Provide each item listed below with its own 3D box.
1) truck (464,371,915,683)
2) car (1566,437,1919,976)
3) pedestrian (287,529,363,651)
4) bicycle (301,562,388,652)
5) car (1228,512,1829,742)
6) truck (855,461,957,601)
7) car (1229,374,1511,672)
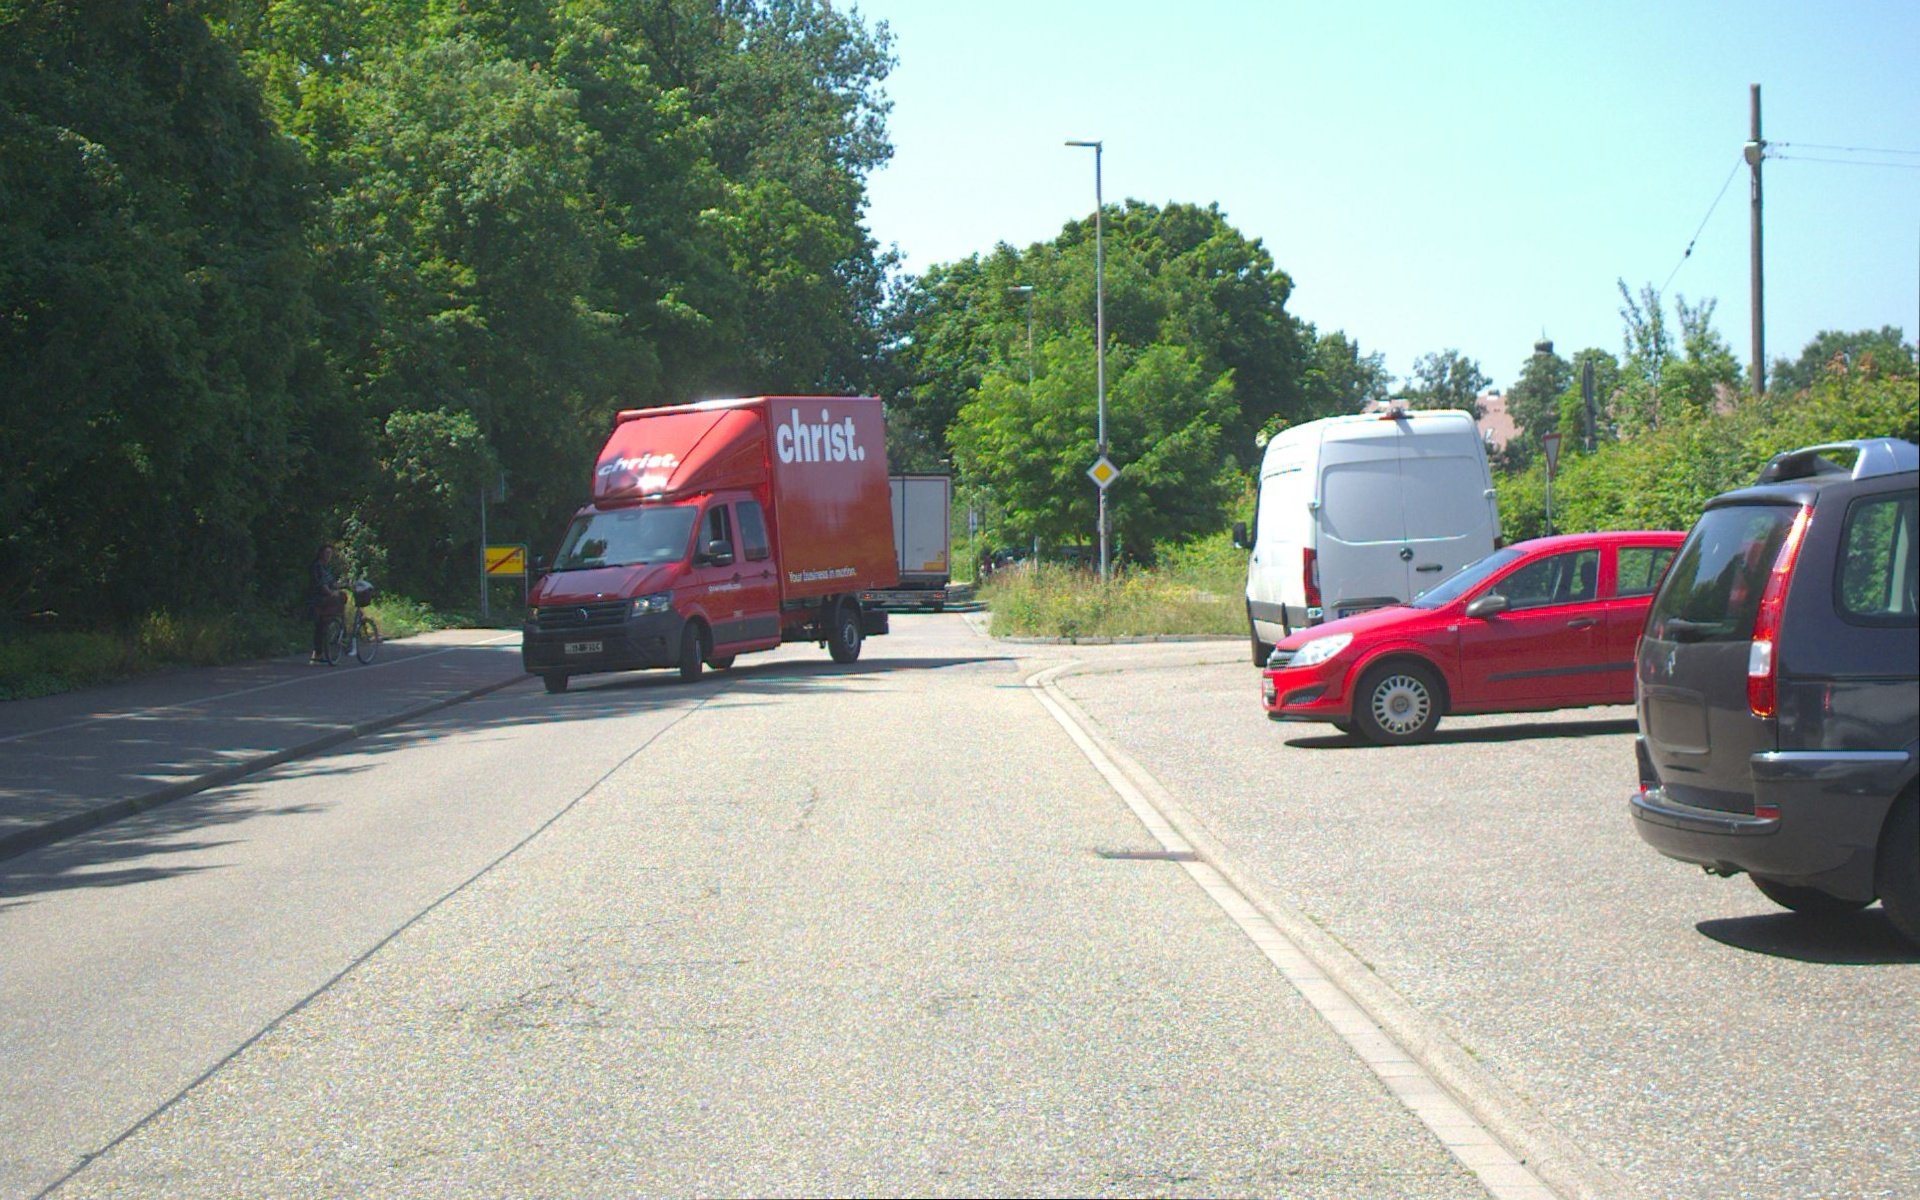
[{"bbox_3d":[-3.164,-0.963,42.538,2.325,3.428,7.153,-3,1,23],"label":"truck"},{"bbox_3d":[4.750,0.249,12.838,4.452,1.798,1.953,-3,1,-5],"label":"car"},{"bbox_3d":[-8.986,-0.143,48.665,0.809,1.712,0.776,0,1,15],"label":"pedestrian"},{"bbox_3d":[-8.687,0.091,48.553,0.521,1.232,1.960,1,0,11],"label":"bicycle"},{"bbox_3d":[4.182,0.171,25.689,4.053,1.429,1.836,-3,1,-4],"label":"car"},{"bbox_3d":[-1.491,-1.954,98.586,2.733,3.733,13.246,0,1,0],"label":"truck"},{"bbox_3d":[4.167,-0.814,36.159,1.954,2.724,7.168,-3,1,0],"label":"car"}]
